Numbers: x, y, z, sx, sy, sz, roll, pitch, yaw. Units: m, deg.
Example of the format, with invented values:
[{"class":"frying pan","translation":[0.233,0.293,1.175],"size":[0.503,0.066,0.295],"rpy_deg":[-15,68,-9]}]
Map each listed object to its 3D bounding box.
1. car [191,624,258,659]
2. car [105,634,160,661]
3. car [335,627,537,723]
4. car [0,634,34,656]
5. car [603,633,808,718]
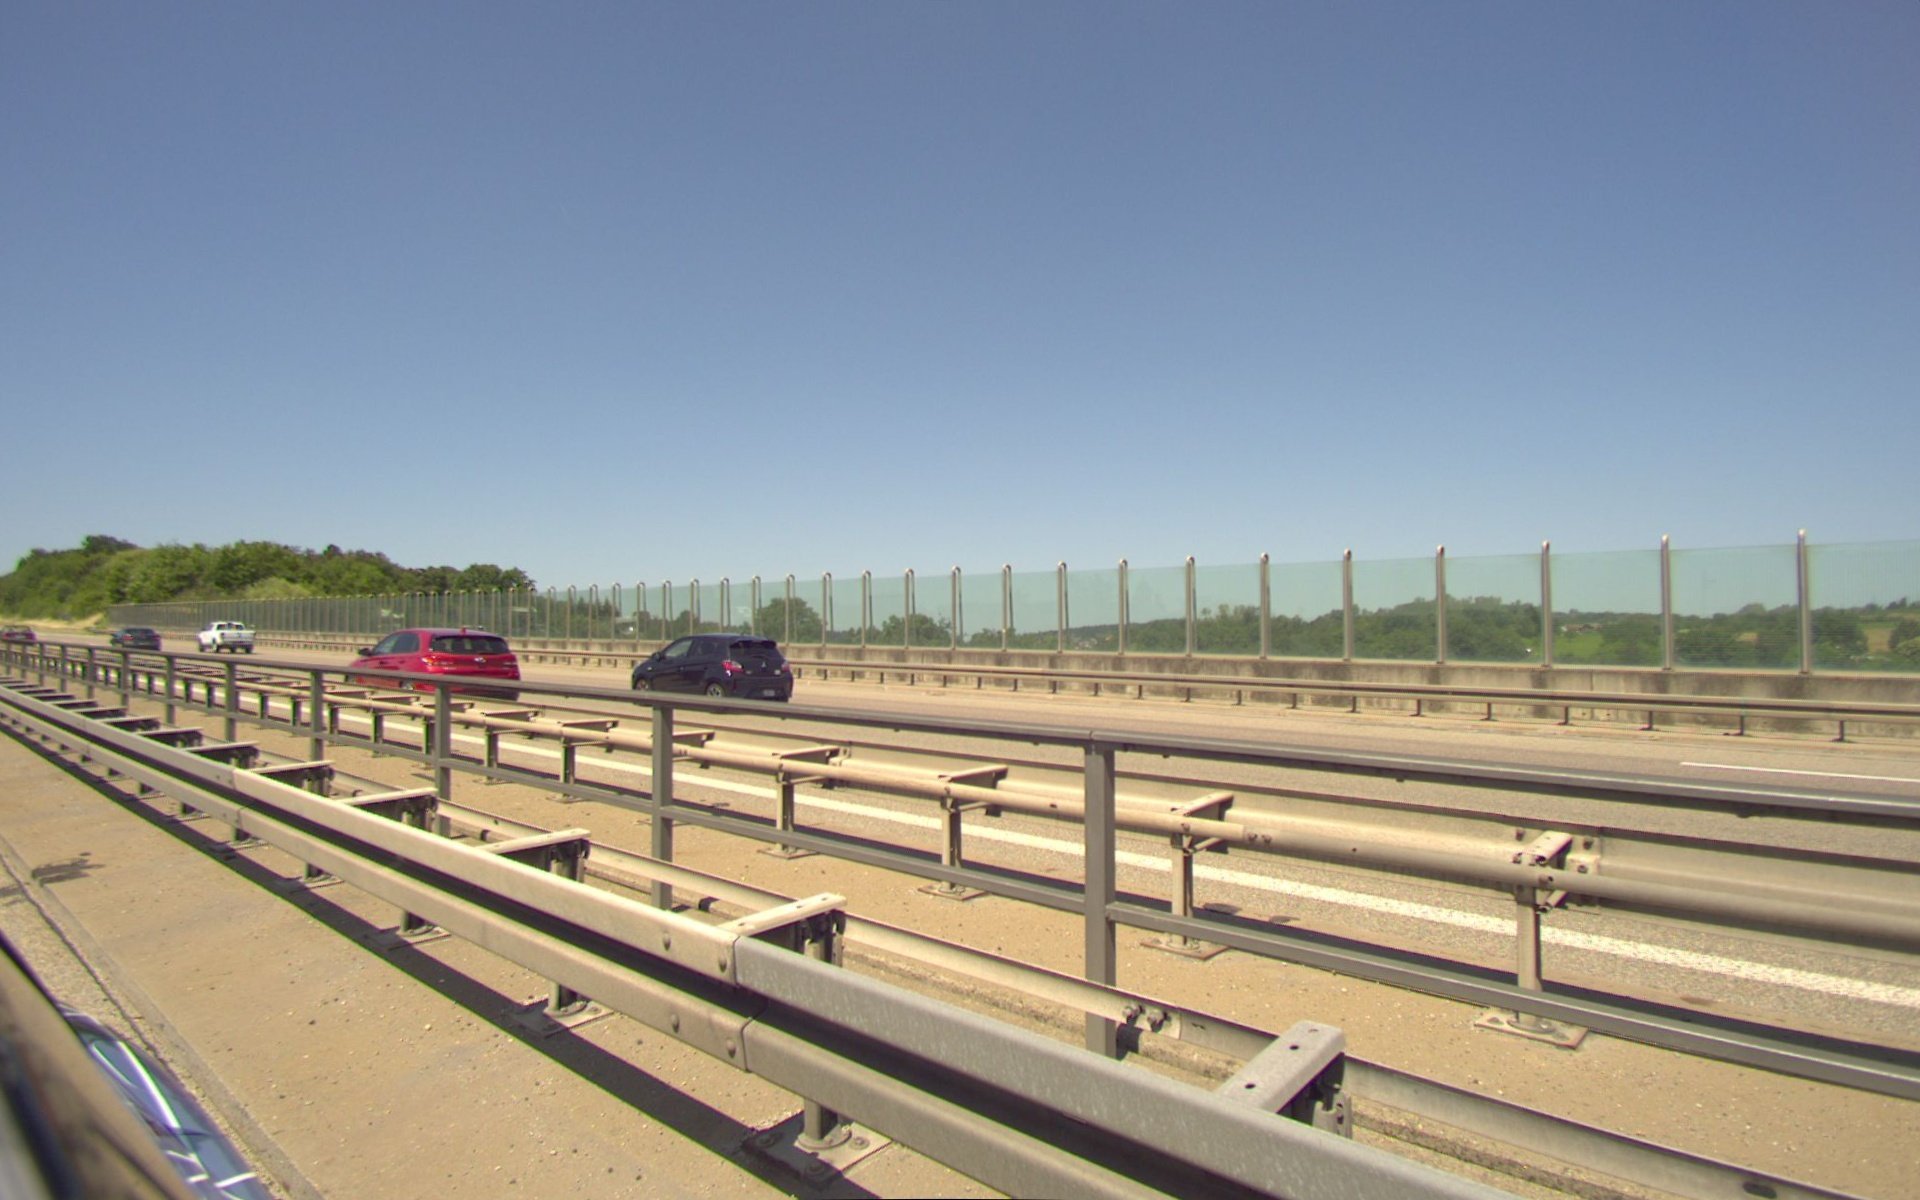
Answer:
[{"class":"car","translation":[-43.378,2.440,59.620],"size":[5.252,1.899,1.973],"rpy_deg":[-2,-4,41]},{"class":"car","translation":[-44.180,2.530,54.007],"size":[4.177,1.360,1.581],"rpy_deg":[-2,-4,41]},{"class":"car","translation":[-9.327,1.287,17.895],"size":[3.987,1.489,1.772],"rpy_deg":[-1,-6,41]},{"class":"car","translation":[-59.064,2.799,62.958],"size":[4.339,1.328,1.581],"rpy_deg":[-2,-4,41]},{"class":"car","translation":[-5.161,1.439,20.201],"size":[4.417,1.503,1.712],"rpy_deg":[-1,-4,41]}]
